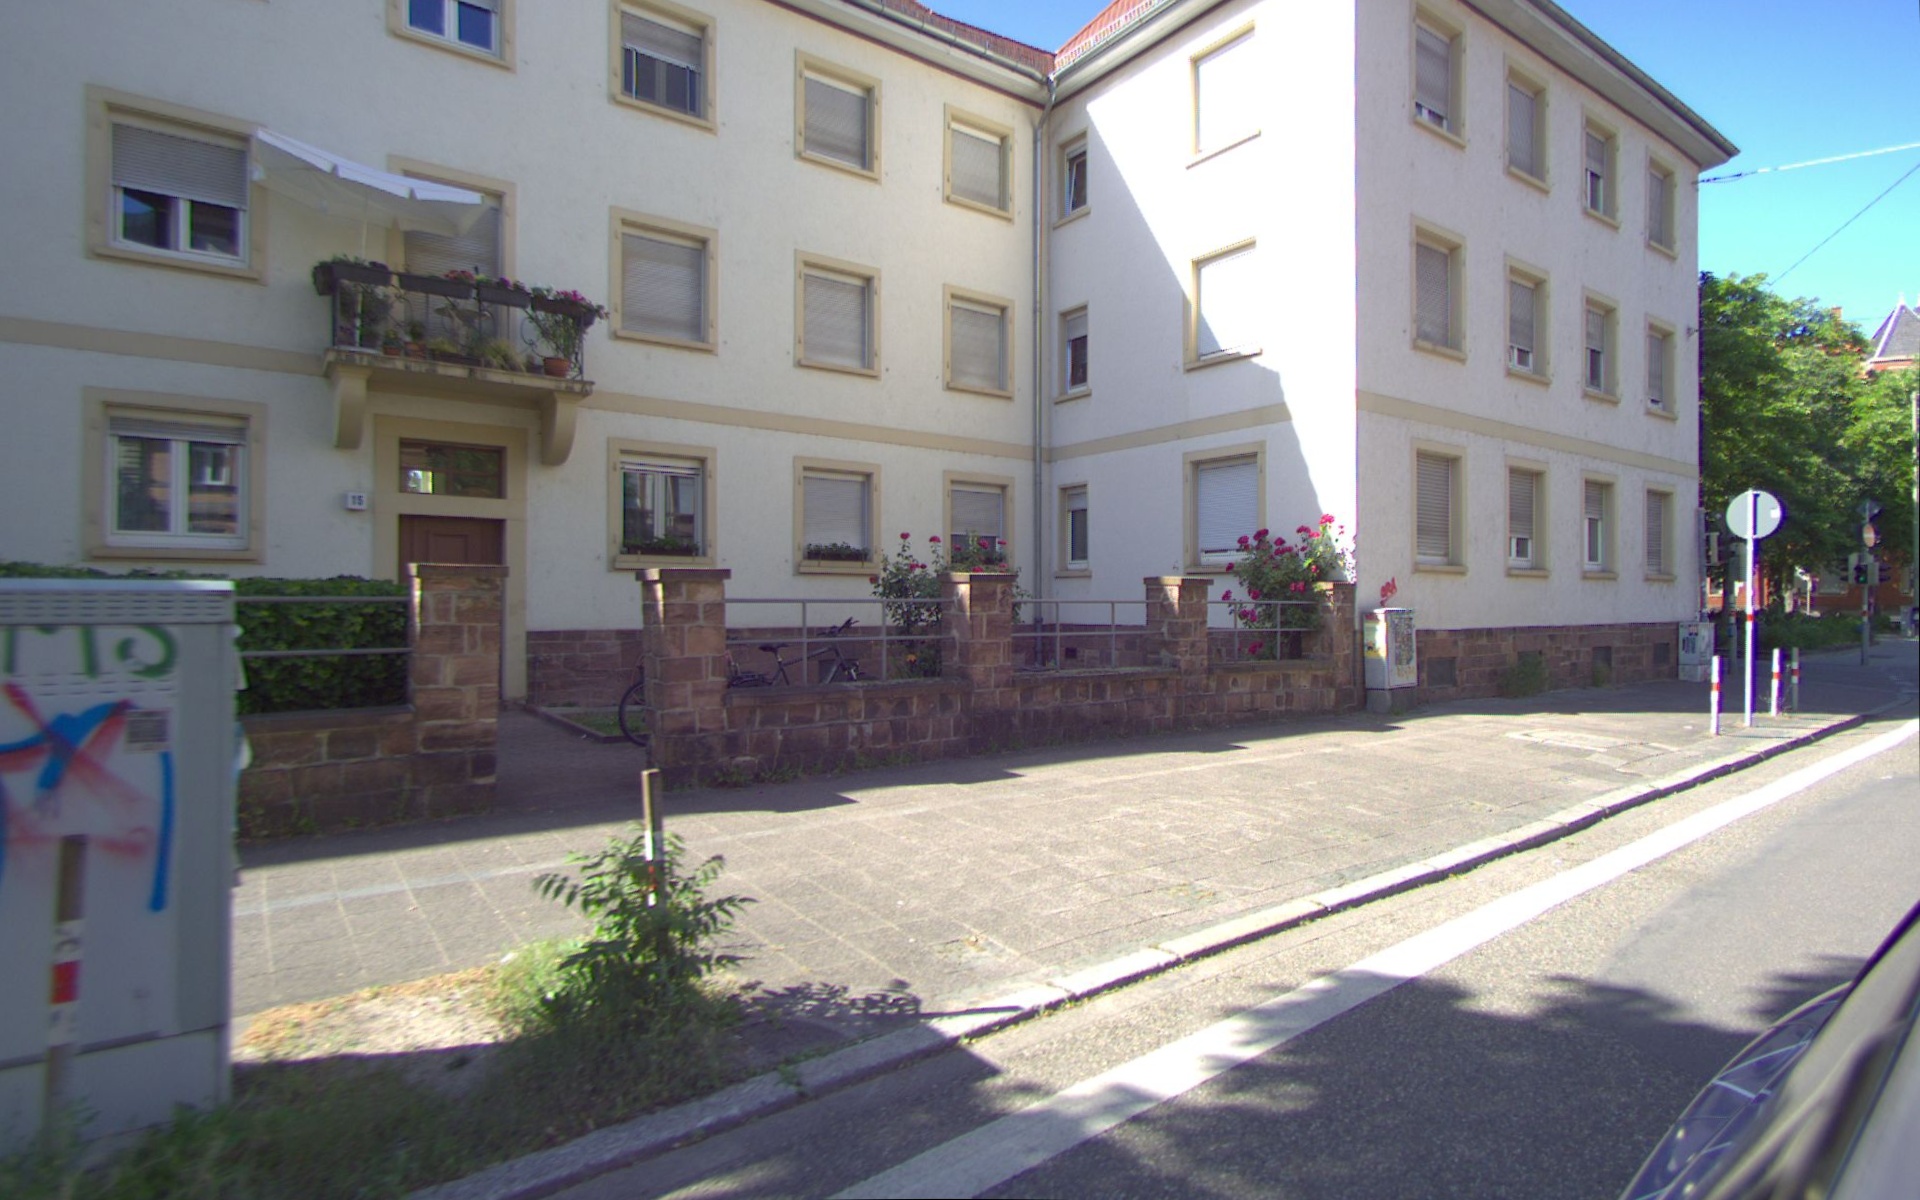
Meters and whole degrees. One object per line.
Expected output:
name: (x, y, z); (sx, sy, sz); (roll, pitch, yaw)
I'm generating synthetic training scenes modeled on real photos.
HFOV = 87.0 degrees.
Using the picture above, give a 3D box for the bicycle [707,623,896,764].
bicycle: (-1.363, 0.779, 8.918); (1.644, 1.107, 0.459); (0, -3, -42)

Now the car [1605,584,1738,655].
car: (23.216, 0.658, 33.261); (1.660, 2.119, 4.741); (-2, -2, 11)

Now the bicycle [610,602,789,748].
bicycle: (-2.515, 0.687, 9.875); (1.644, 1.317, 0.459); (0, -3, -42)
